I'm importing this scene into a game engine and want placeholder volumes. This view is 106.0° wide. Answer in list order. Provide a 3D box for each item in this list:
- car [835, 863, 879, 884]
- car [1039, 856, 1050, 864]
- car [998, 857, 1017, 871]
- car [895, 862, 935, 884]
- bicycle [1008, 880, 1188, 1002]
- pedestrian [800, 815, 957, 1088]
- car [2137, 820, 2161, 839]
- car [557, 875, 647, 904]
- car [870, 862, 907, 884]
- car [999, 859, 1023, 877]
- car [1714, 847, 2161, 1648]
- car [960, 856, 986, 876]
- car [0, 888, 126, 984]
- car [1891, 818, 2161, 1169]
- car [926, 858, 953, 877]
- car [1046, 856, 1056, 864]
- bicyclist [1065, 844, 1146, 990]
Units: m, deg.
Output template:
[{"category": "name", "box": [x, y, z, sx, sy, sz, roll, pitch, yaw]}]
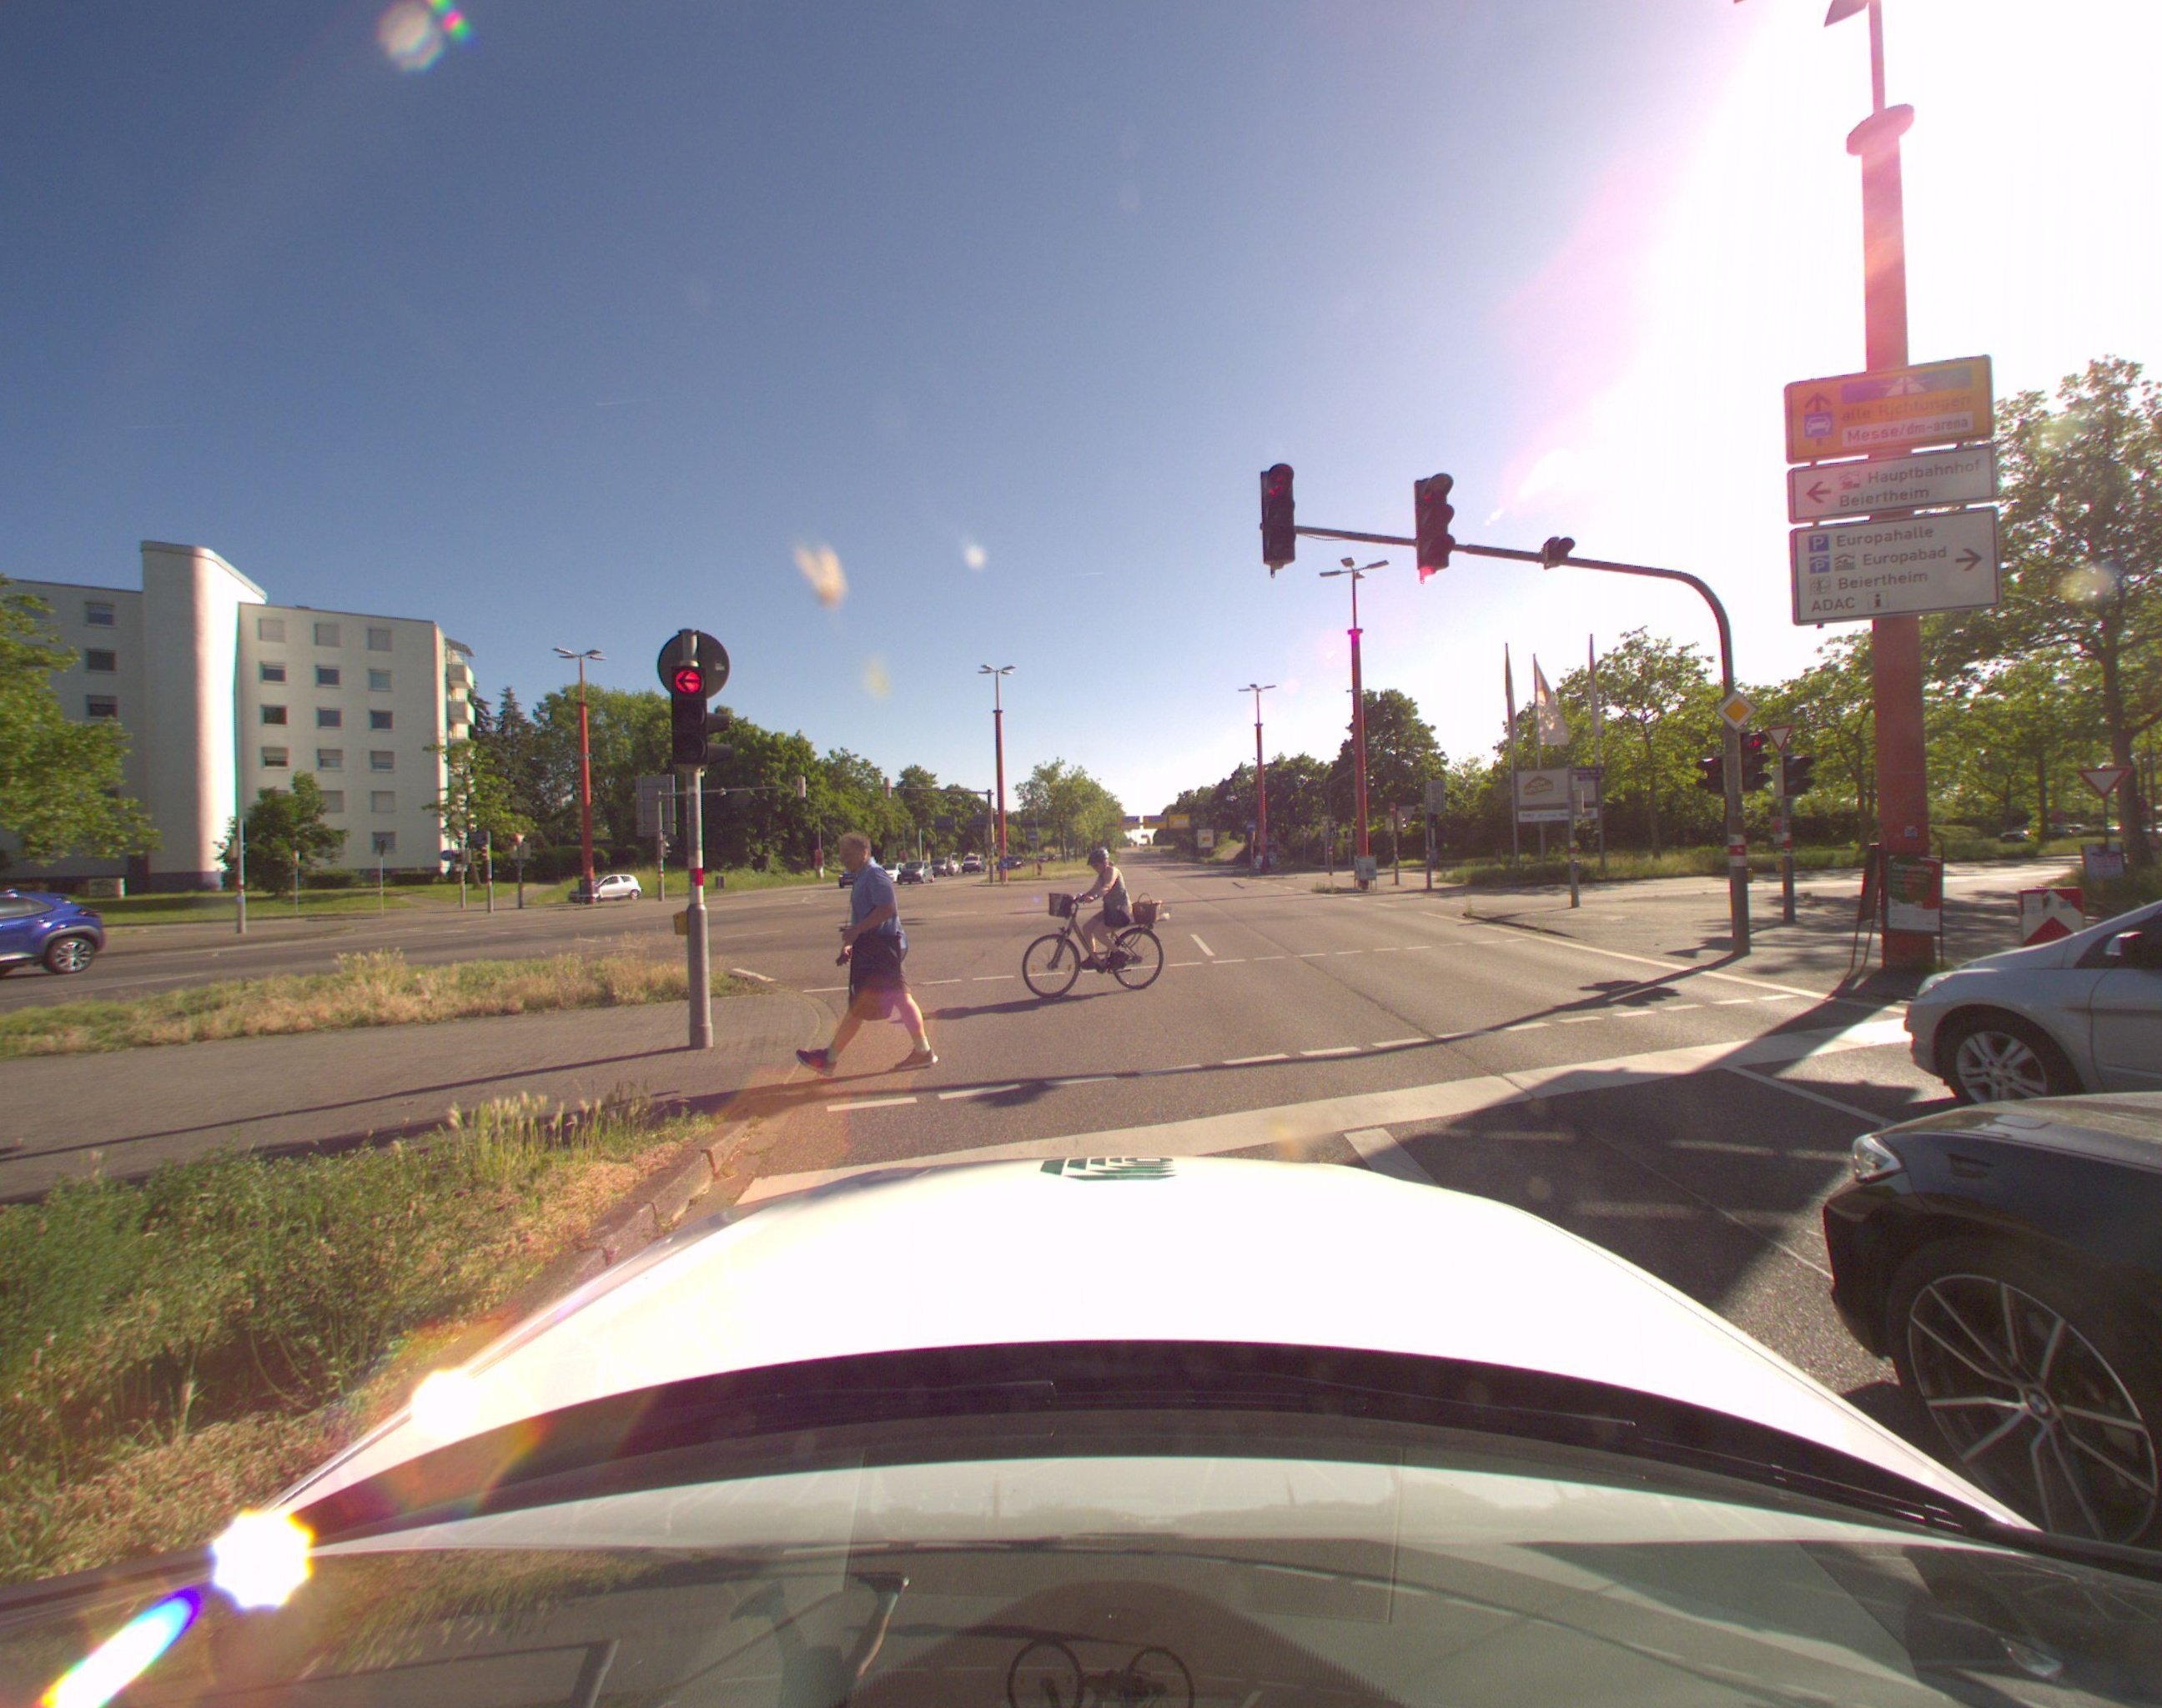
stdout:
[{"category": "car", "box": [-14.094, 1.212, 51.412, 1.733, 1.243, 3.613, -2, 0, 1]}, {"category": "car", "box": [-7.179, 1.171, 160.443, 1.791, 1.640, 4.002, -2, 0, 2]}, {"category": "car", "box": [-8.002, 1.089, 88.864, 1.733, 1.362, 3.613, -2, 0, 1]}, {"category": "car", "box": [-10.610, 1.189, 52.299, 1.733, 1.243, 3.613, -2, 0, 1]}, {"category": "bicycle", "box": [0.212, 0.947, 9.375, 1.952, 1.195, 0.686, -2, 0, -26]}, {"category": "pedestrian", "box": [-1.521, 0.640, 6.012, 0.988, 1.794, 0.948, -1, 0, -20]}, {"category": "car", "box": [91.598, -2.105, 68.760, 3.991, 1.467, 1.674, -2, 0, -17]}, {"category": "car", "box": [-26.703, 1.966, 45.519, 1.734, 1.398, 4.023, -2, 0, 26]}, {"category": "car", "box": [-13.664, 1.319, 57.975, 1.733, 1.411, 3.613, -2, 0, 1]}, {"category": "car", "box": [-6.570, 1.305, 76.937, 1.812, 1.508, 4.002, -2, 0, 2]}, {"category": "car", "box": [2.774, 0.688, 0.237, 1.862, 1.398, 4.446, -2, 0, 3]}, {"category": "car", "box": [-11.645, 1.250, 88.197, 1.886, 2.026, 5.224, -2, 0, 1]}, {"category": "car", "box": [-19.493, 1.471, 13.669, 1.986, 1.574, 4.108, -2, 0, 2]}, {"category": "car", "box": [5.667, 0.602, 2.856, 1.732, 1.578, 4.032, -2, 0, 3]}, {"category": "car", "box": [-12.723, 1.155, 73.286, 1.733, 1.612, 3.613, -2, 0, 1]}, {"category": "car", "box": [-6.395, 1.269, 173.097, 1.812, 1.629, 4.002, -2, 0, 2]}, {"category": "bicyclist", "box": [0.277, 0.697, 9.412, 0.664, 1.584, 0.667, -2, 0, -26]}]
